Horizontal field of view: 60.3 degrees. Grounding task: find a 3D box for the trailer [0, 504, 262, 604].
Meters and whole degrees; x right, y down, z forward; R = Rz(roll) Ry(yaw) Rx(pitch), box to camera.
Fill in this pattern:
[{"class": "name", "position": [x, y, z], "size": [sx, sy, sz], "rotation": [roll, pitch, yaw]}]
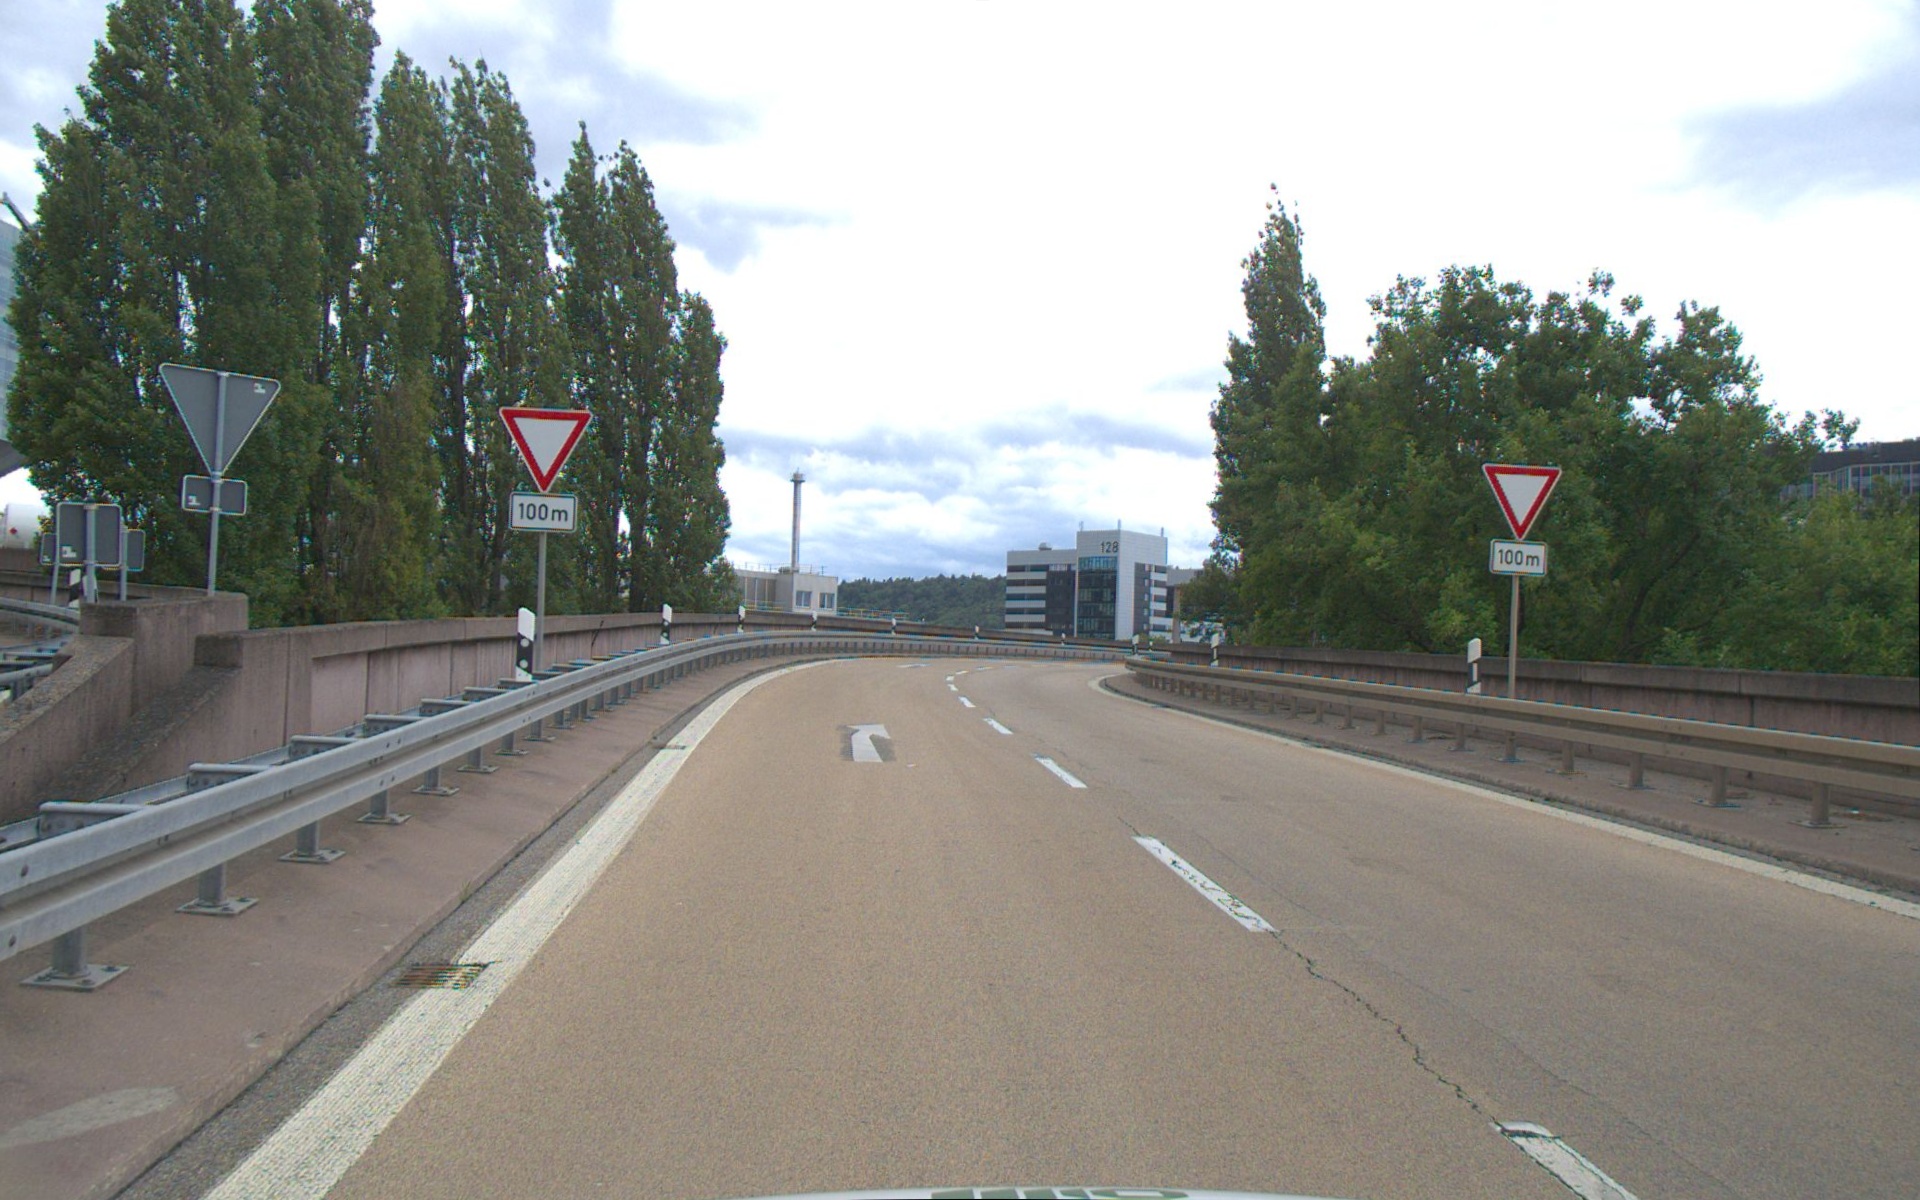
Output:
[{"class": "trailer", "position": [-39.233, -2.059, 78.298], "size": [11.006, 3.803, 2.771], "rotation": [4, -3, -31]}]
